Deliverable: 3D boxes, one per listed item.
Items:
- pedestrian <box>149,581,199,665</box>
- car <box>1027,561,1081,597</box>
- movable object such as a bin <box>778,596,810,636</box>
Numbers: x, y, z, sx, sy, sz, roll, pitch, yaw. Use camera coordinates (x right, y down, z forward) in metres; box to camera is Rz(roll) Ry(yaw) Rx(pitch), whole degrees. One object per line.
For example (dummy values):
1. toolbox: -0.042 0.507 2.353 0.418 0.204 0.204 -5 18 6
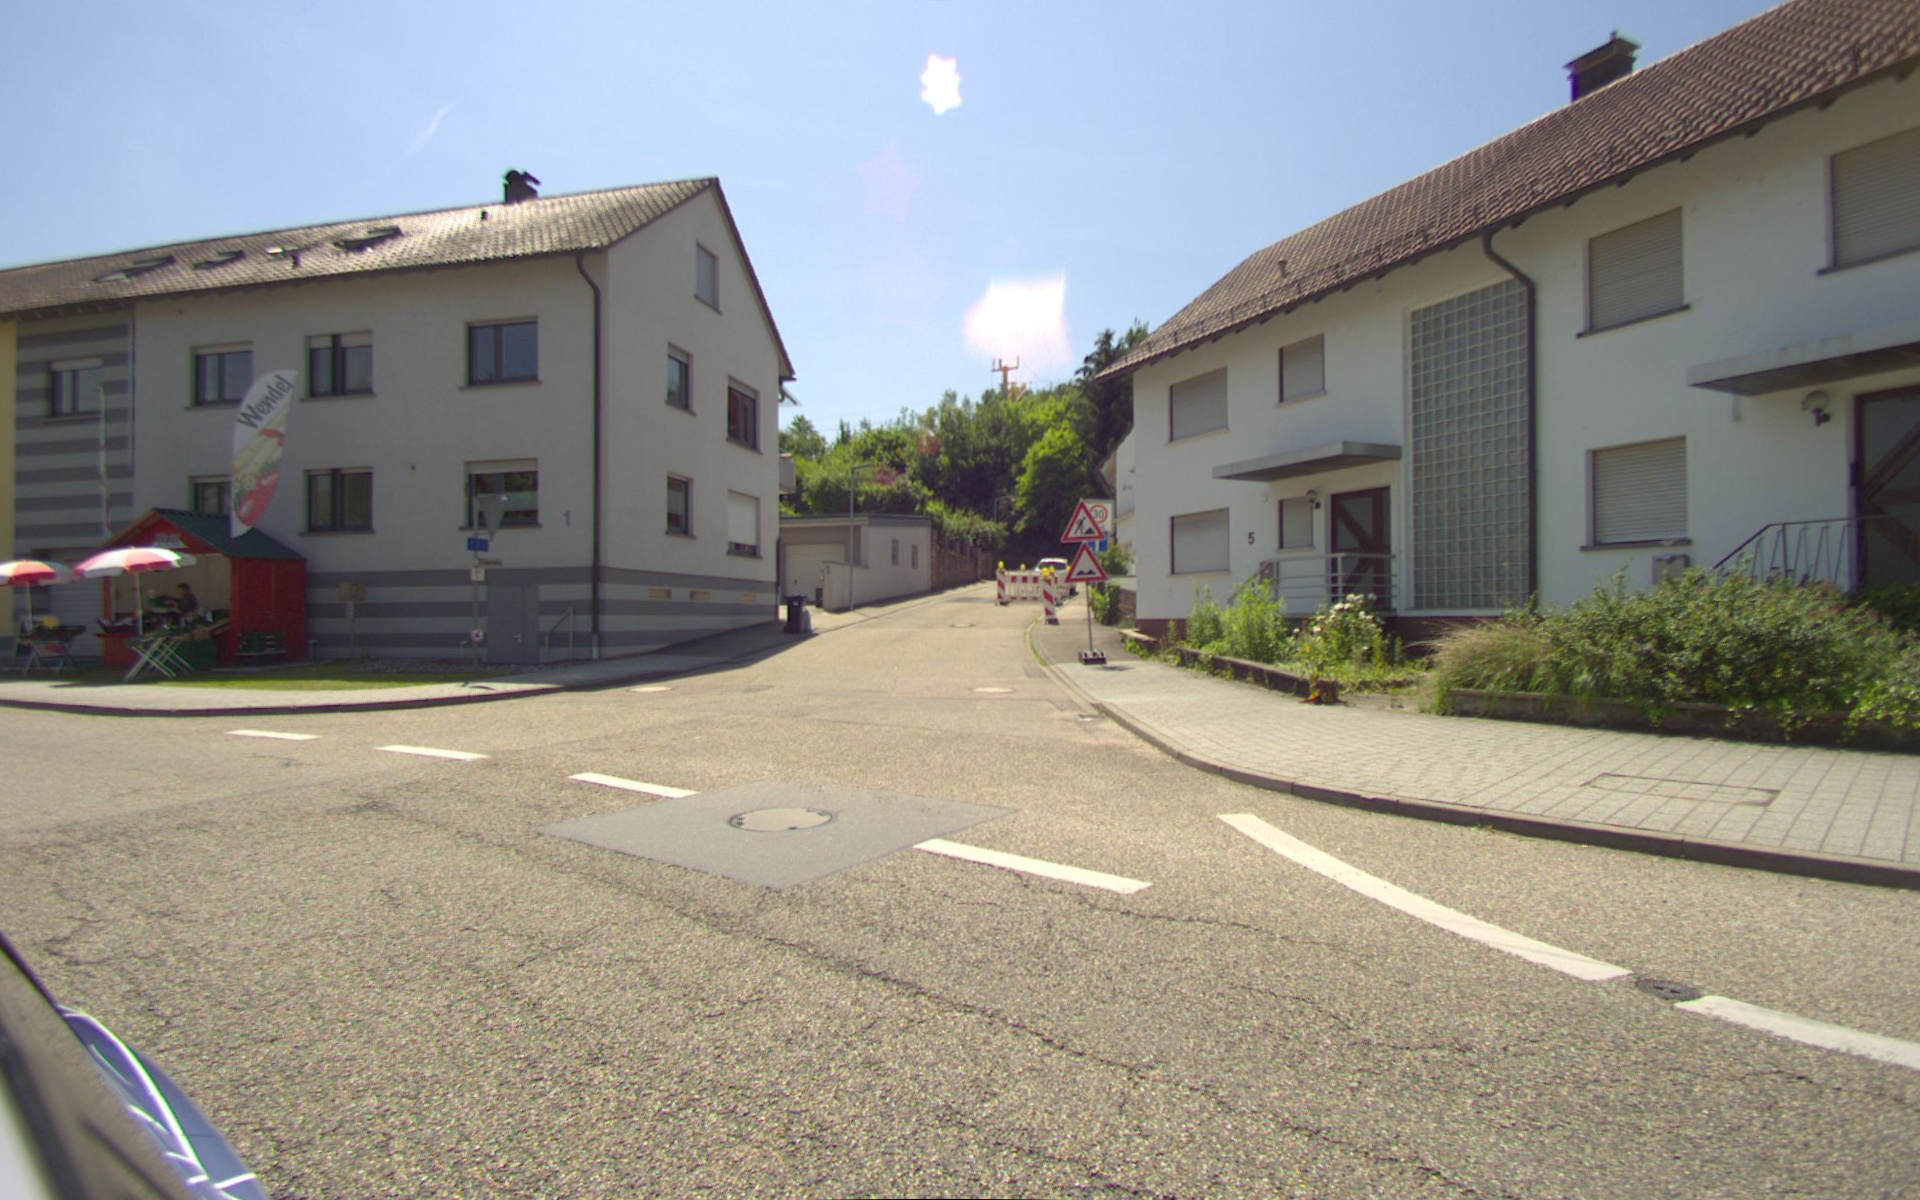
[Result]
1. pedestrian: -15.429 0.444 19.890 0.602 1.599 0.811 0 -1 -25
2. car: 4.180 -0.966 44.327 1.890 1.431 4.368 -1 2 12
3. movable object such as a bin: -4.027 0.390 24.585 0.594 0.941 0.598 0 -1 12
